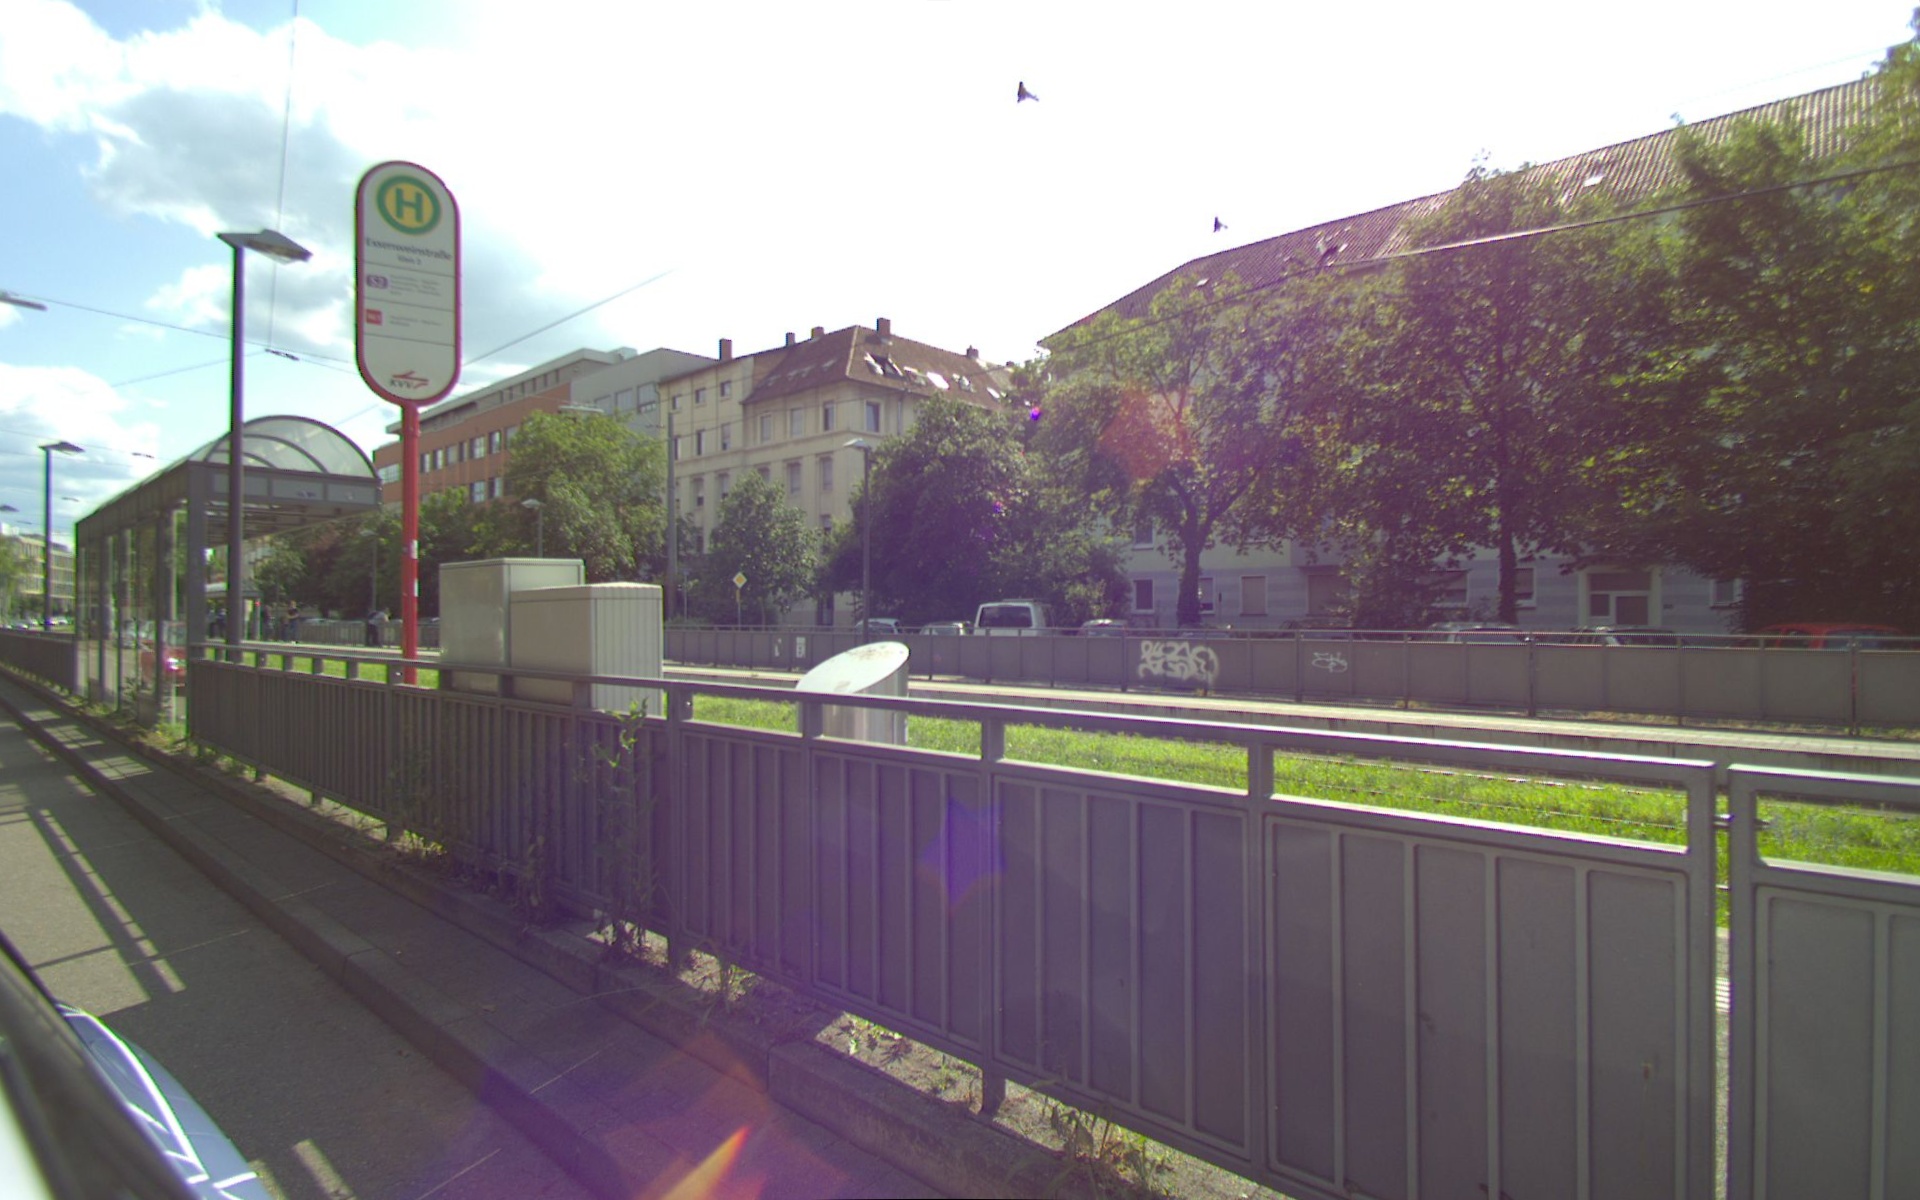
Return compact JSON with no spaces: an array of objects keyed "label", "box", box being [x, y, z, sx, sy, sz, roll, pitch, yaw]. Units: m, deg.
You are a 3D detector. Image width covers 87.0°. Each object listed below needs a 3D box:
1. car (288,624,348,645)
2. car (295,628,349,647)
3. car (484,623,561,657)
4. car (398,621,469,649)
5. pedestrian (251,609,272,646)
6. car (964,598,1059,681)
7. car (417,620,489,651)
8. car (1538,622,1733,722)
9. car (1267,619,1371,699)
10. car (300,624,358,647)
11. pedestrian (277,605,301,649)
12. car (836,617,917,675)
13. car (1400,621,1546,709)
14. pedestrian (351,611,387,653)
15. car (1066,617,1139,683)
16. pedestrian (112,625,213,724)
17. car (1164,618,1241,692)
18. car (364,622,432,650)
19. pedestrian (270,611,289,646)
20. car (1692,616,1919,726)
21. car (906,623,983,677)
[{"label":"car","box":[-47.968,2.557,75.706,1.631,1.508,3.993,-1,-1,6]},{"label":"car","box":[-45.812,2.674,72.728,1.585,1.314,3.244,-1,-1,8]},{"label":"car","box":[-21.540,1.946,49.985,1.901,1.576,4.150,1,-1,2]},{"label":"car","box":[-30.531,2.003,58.775,1.591,1.580,3.988,-1,-1,9]},{"label":"pedestrian","box":[-33.290,1.318,48.245,0.599,1.767,0.626,0,-1,-7]},{"label":"car","box":[1.502,1.056,27.813,2.029,2.086,3.937,-1,-1,12]},{"label":"car","box":[-28.400,1.961,56.816,1.811,1.652,4.132,1,-1,3]},{"label":"car","box":[11.911,1.194,18.129,1.632,1.591,3.652,-1,-1,12]},{"label":"car","box":[7.742,1.227,22.110,1.632,1.591,3.652,-1,-1,12]},{"label":"car","box":[-43.812,2.476,70.367,1.569,1.431,3.299,-1,1,13]},{"label":"pedestrian","box":[-29.839,1.200,45.003,0.742,1.906,0.639,1,1,-45]},{"label":"car","box":[-2.541,1.402,31.844,1.805,1.652,3.992,-2,-1,6]},{"label":"car","box":[9.855,1.171,19.742,1.593,1.525,4.011,0,-1,13]},{"label":"pedestrian","box":[-22.947,1.225,39.316,0.798,1.590,0.978,-1,-1,40]},{"label":"car","box":[3.806,1.257,26.521,1.701,1.591,3.937,-1,-1,11]},{"label":"pedestrian","box":[-9.125,0.837,11.604,0.652,1.080,0.725,0,-2,-13]},{"label":"car","box":[5.688,1.245,23.967,1.632,1.591,3.652,-1,-1,12]},{"label":"car","box":[-34.717,2.205,62.656,1.652,1.540,3.992,-2,0,6]},{"label":"pedestrian","box":[-32.729,1.365,48.683,0.625,1.687,0.600,-1,-1,43]},{"label":"car","box":[13.828,1.066,16.551,1.632,1.591,3.652,-1,-1,12]},{"label":"car","box":[-0.394,1.451,30.194,1.591,1.497,3.988,-1,-1,9]}]
